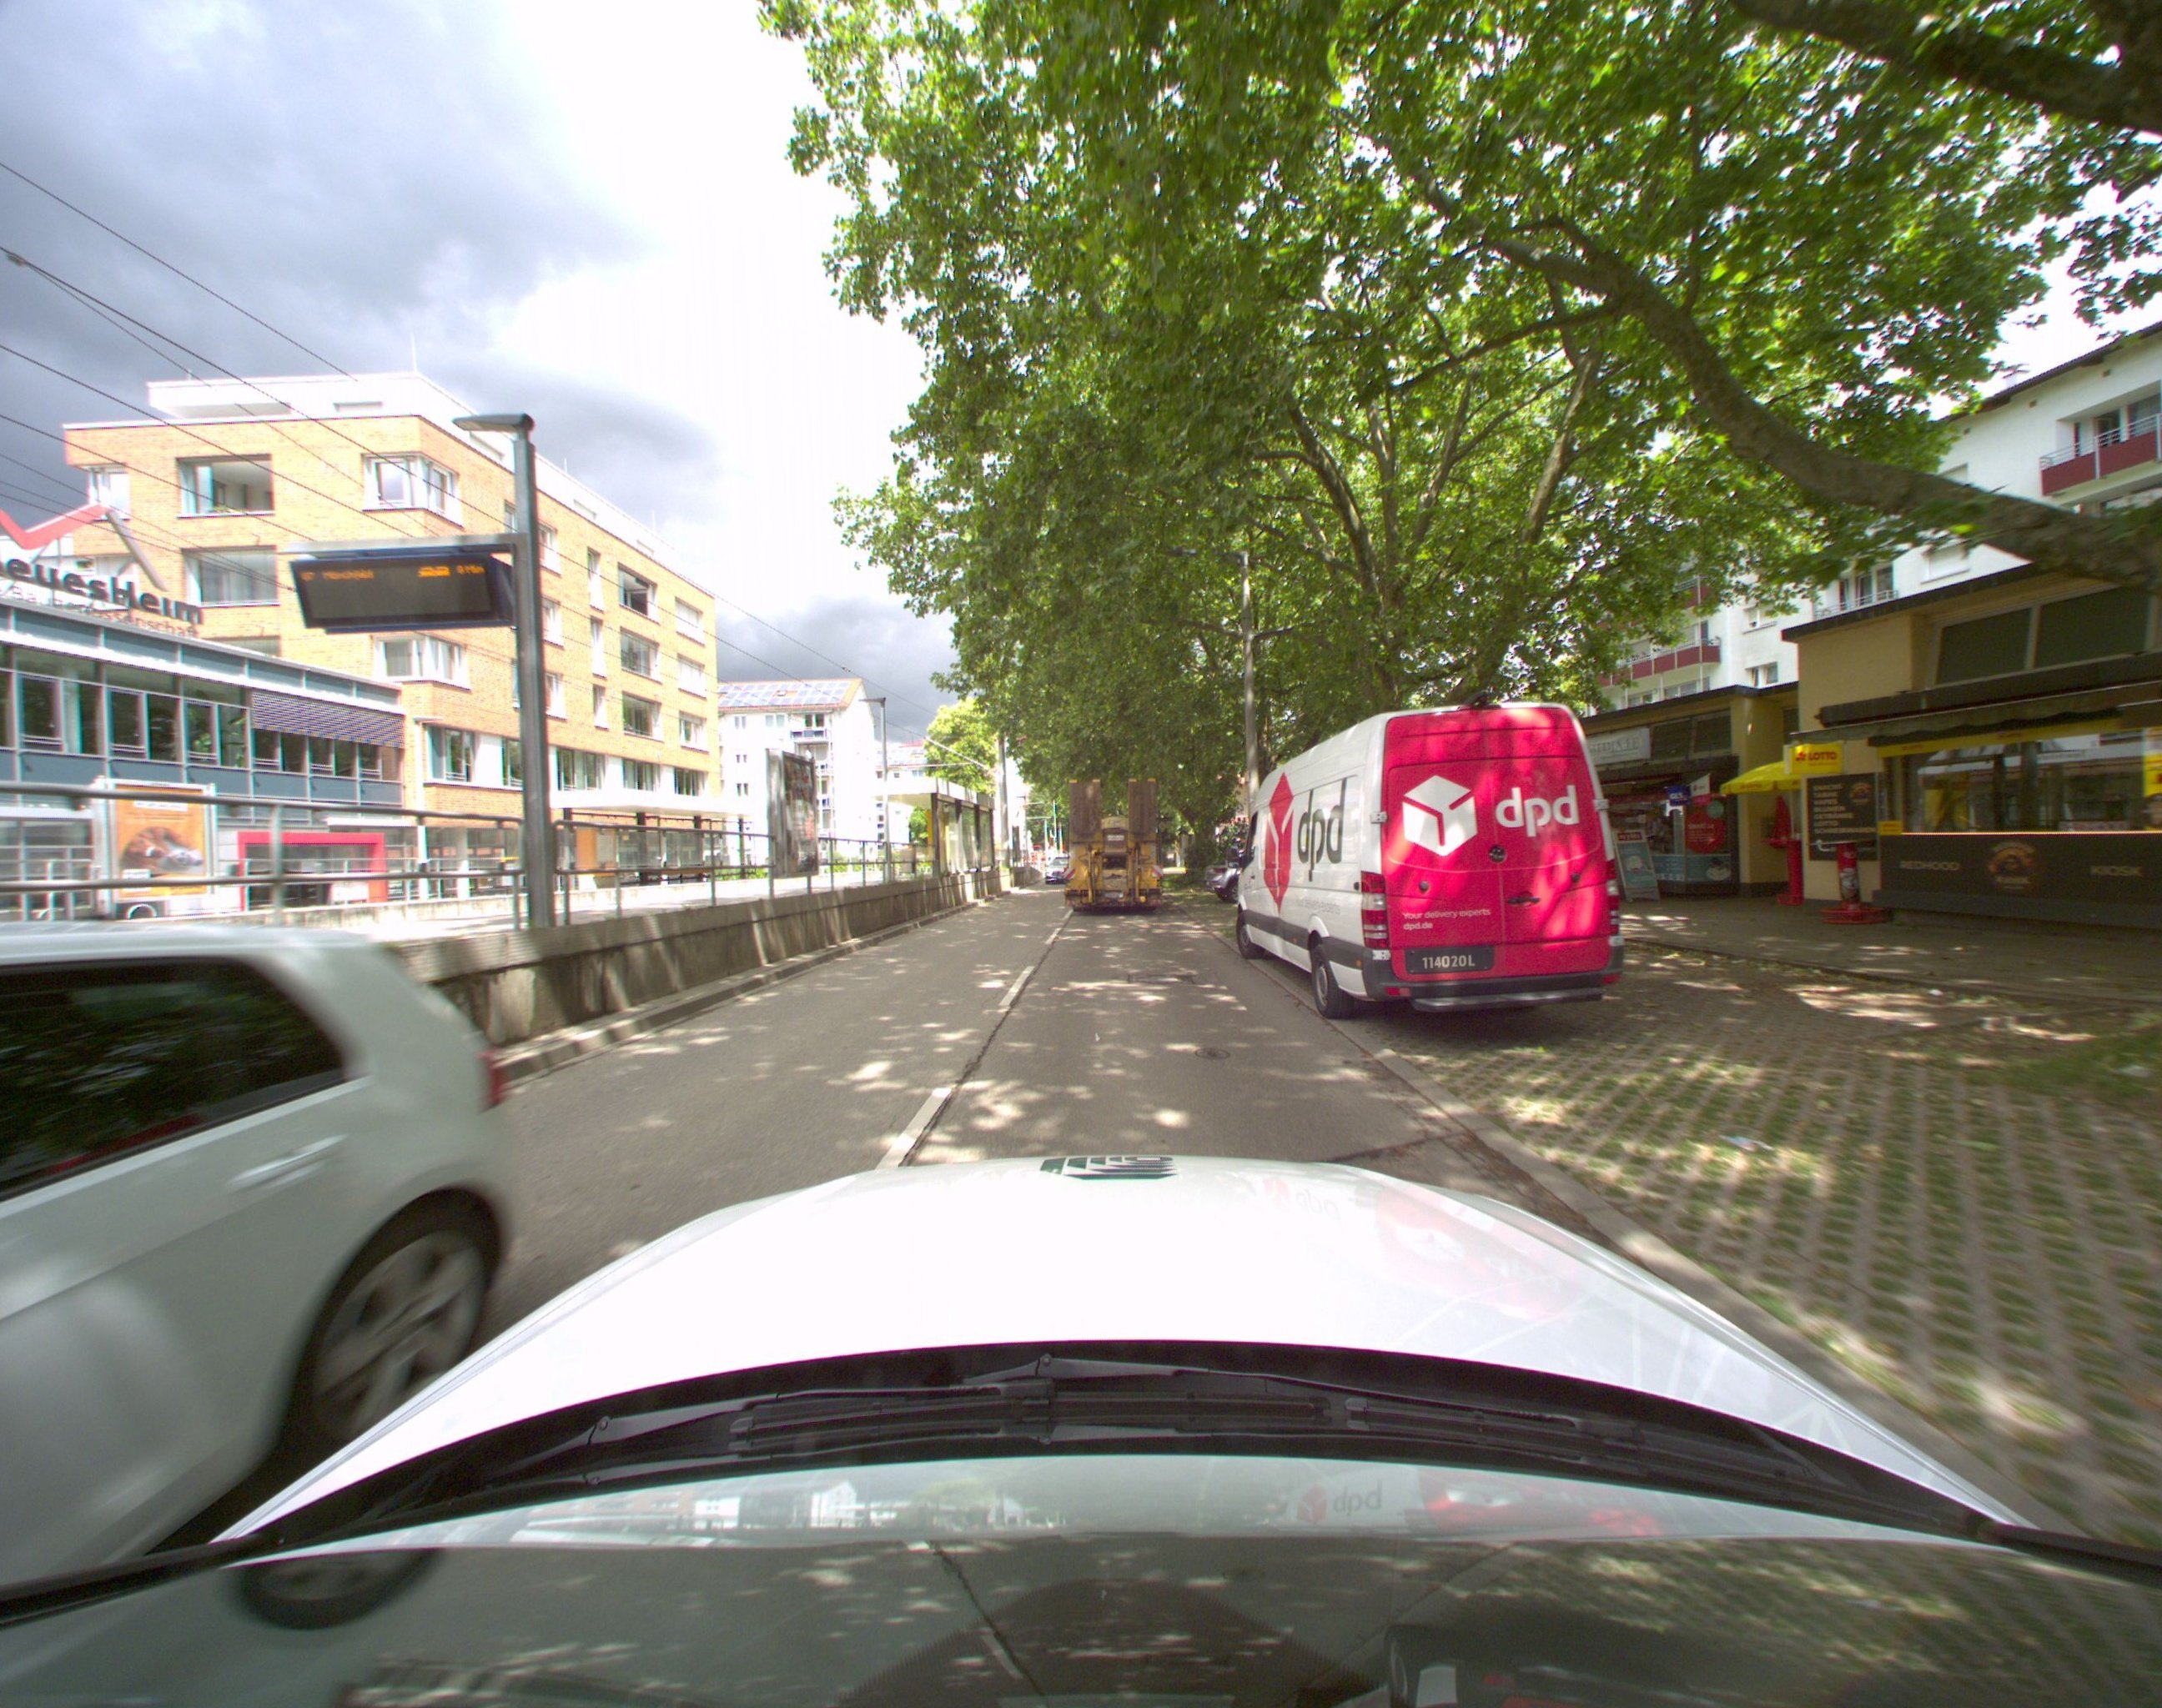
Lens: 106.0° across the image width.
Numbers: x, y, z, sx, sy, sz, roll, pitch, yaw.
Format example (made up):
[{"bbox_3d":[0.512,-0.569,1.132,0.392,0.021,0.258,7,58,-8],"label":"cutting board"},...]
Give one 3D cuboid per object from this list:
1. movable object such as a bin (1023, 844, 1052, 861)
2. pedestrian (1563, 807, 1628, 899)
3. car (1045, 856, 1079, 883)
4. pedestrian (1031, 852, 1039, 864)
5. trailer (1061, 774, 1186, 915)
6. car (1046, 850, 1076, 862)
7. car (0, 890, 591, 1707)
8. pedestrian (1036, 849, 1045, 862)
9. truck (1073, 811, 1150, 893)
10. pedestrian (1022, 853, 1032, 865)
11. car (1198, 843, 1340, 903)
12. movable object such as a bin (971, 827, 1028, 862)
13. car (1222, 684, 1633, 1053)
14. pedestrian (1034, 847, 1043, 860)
[{"bbox_3d":[-7.230,-0.250,136.175,4.325,2.629,2.234,-1,0,28],"label":"movable object such as a bin"},{"bbox_3d":[10.473,-0.016,16.591,0.610,1.801,0.914,-2,-2,-44],"label":"pedestrian"},{"bbox_3d":[-1.033,0.844,46.345,1.756,1.481,4.578,0,0,1],"label":"car"},{"bbox_3d":[-6.590,0.583,116.719,0.878,1.760,0.841,-1,0,19],"label":"pedestrian"},{"bbox_3d":[1.122,-0.257,26.357,3.144,3.552,11.096,-1,0,0],"label":"trailer"},{"bbox_3d":[-3.632,0.295,148.152,5.094,2.102,1.968,-1,0,-13],"label":"car"},{"bbox_3d":[-2.602,0.825,0.977,1.726,1.396,3.751,0,0,0],"label":"car"},{"bbox_3d":[-6.000,0.199,120.440,0.877,1.867,0.842,-1,0,31],"label":"pedestrian"},{"bbox_3d":[1.246,-0.078,35.826,2.979,3.135,7.888,-1,0,1],"label":"truck"},{"bbox_3d":[-7.850,0.677,118.176,1.117,1.715,0.877,-1,0,-42],"label":"pedestrian"},{"bbox_3d":[5.647,0.560,24.721,3.823,1.562,1.617,-3,0,-5],"label":"car"},{"bbox_3d":[-13.227,-1.421,131.740,9.115,5.414,2.680,-1,0,28],"label":"movable object such as a bin"},{"bbox_3d":[3.117,0.108,9.369,1.897,2.581,6.837,-3,0,2],"label":"car"},{"bbox_3d":[-6.132,-0.058,117.596,0.890,1.867,0.830,-1,0,-27],"label":"pedestrian"}]
